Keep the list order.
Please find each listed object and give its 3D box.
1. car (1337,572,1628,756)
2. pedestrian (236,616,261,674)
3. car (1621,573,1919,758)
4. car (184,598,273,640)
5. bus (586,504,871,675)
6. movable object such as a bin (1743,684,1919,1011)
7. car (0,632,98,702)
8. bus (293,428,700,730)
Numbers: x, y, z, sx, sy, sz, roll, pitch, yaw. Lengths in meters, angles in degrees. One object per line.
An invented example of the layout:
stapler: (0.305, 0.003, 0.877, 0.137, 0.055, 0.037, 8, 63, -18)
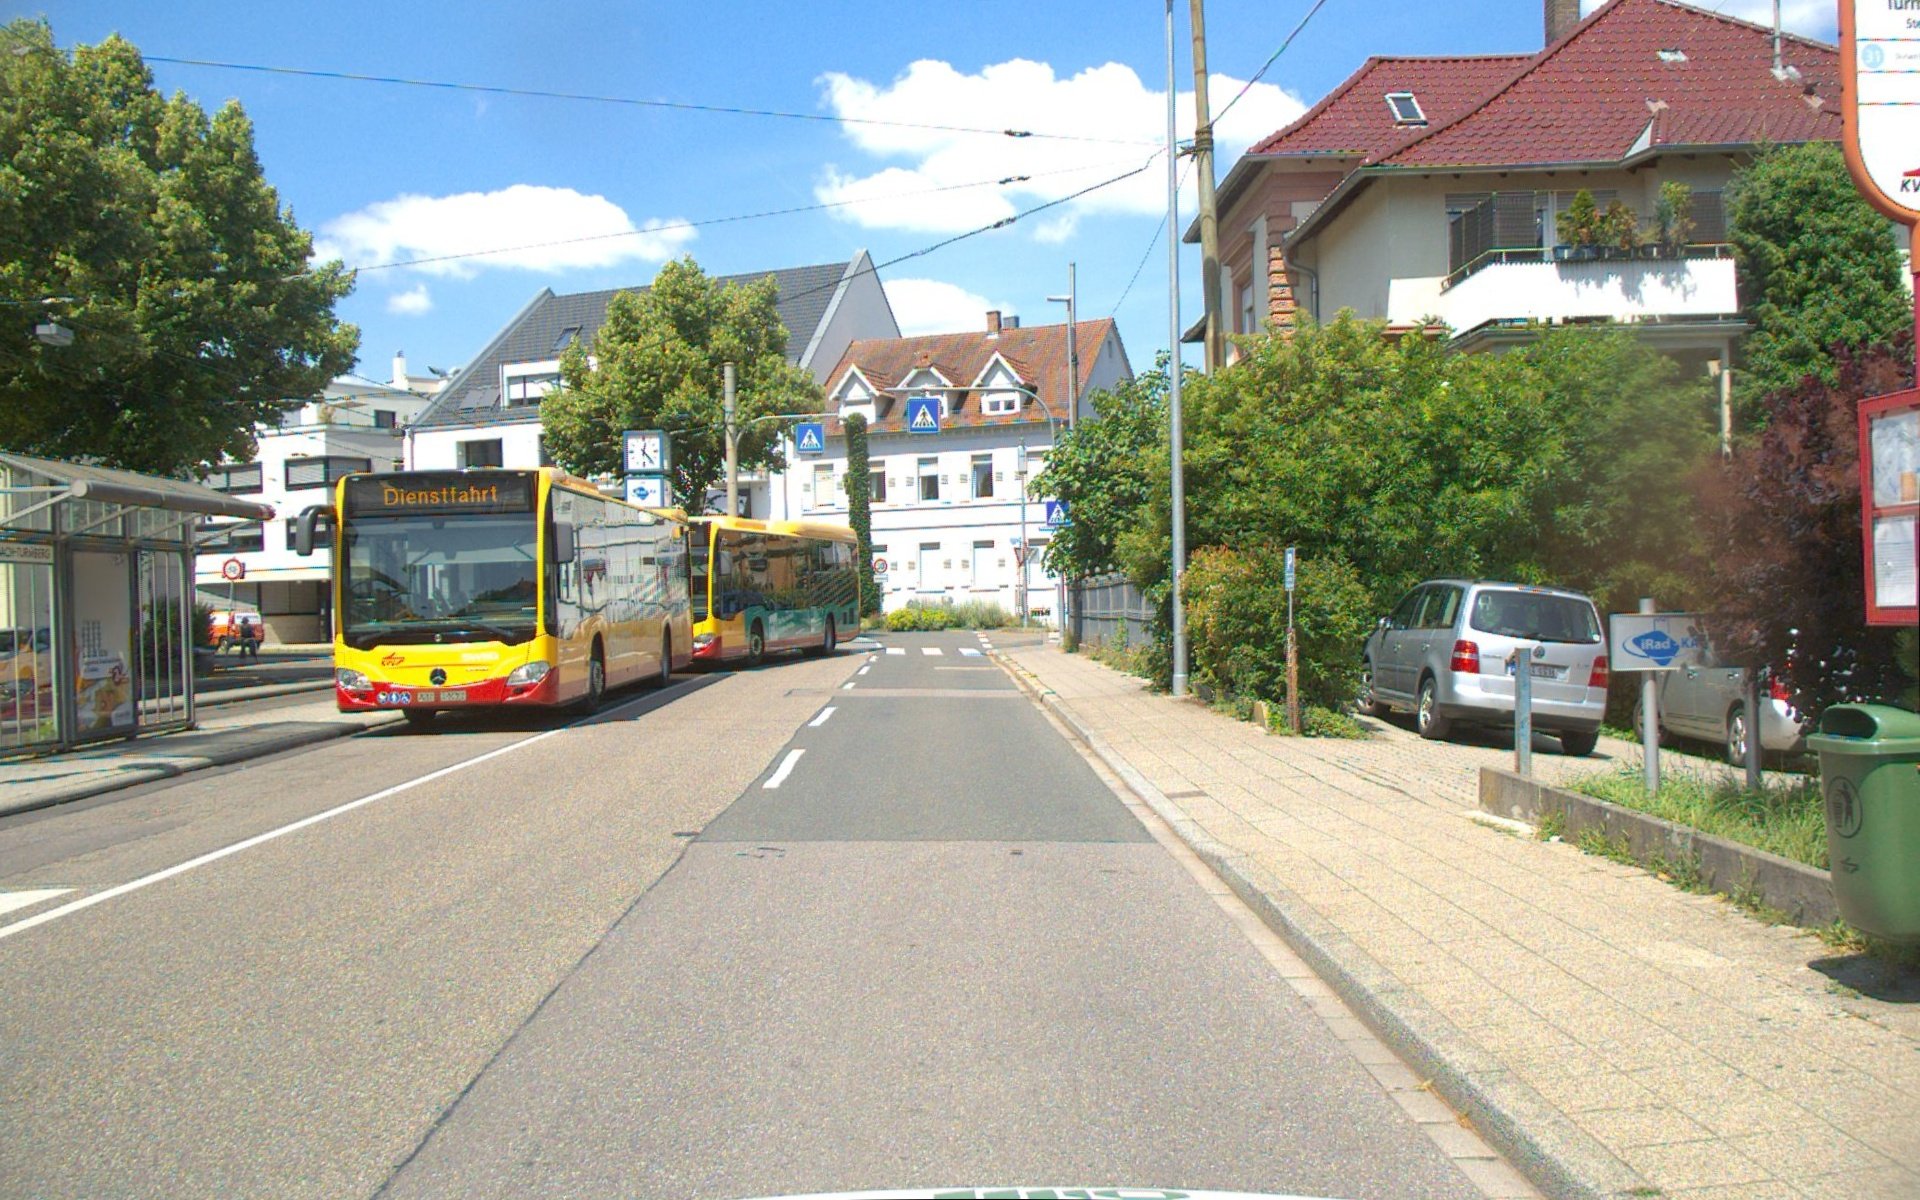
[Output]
car: (5.476, 0.656, 17.873, 1.725, 1.656, 3.998, 4, -1, -1)
pedestrian: (-25.295, 1.598, 58.791, 0.677, 2.049, 0.611, 1, -2, -36)
car: (8.853, 0.690, 17.982, 1.724, 1.697, 4.000, 4, -1, 1)
car: (-35.796, 0.949, 80.905, 3.910, 2.049, 1.997, -1, -2, 28)
bus: (-4.804, -0.305, 37.877, 2.720, 3.264, 12.318, 0, 1, 10)
movable object such as a bin: (2.962, 0.763, 5.349, 0.398, 0.922, 0.729, -5, -1, -4)
car: (-19.261, 1.318, 33.554, 1.681, 1.342, 3.996, 0, -1, -5)
bus: (-6.040, -0.202, 24.232, 2.848, 3.305, 12.114, 0, 0, -2)
